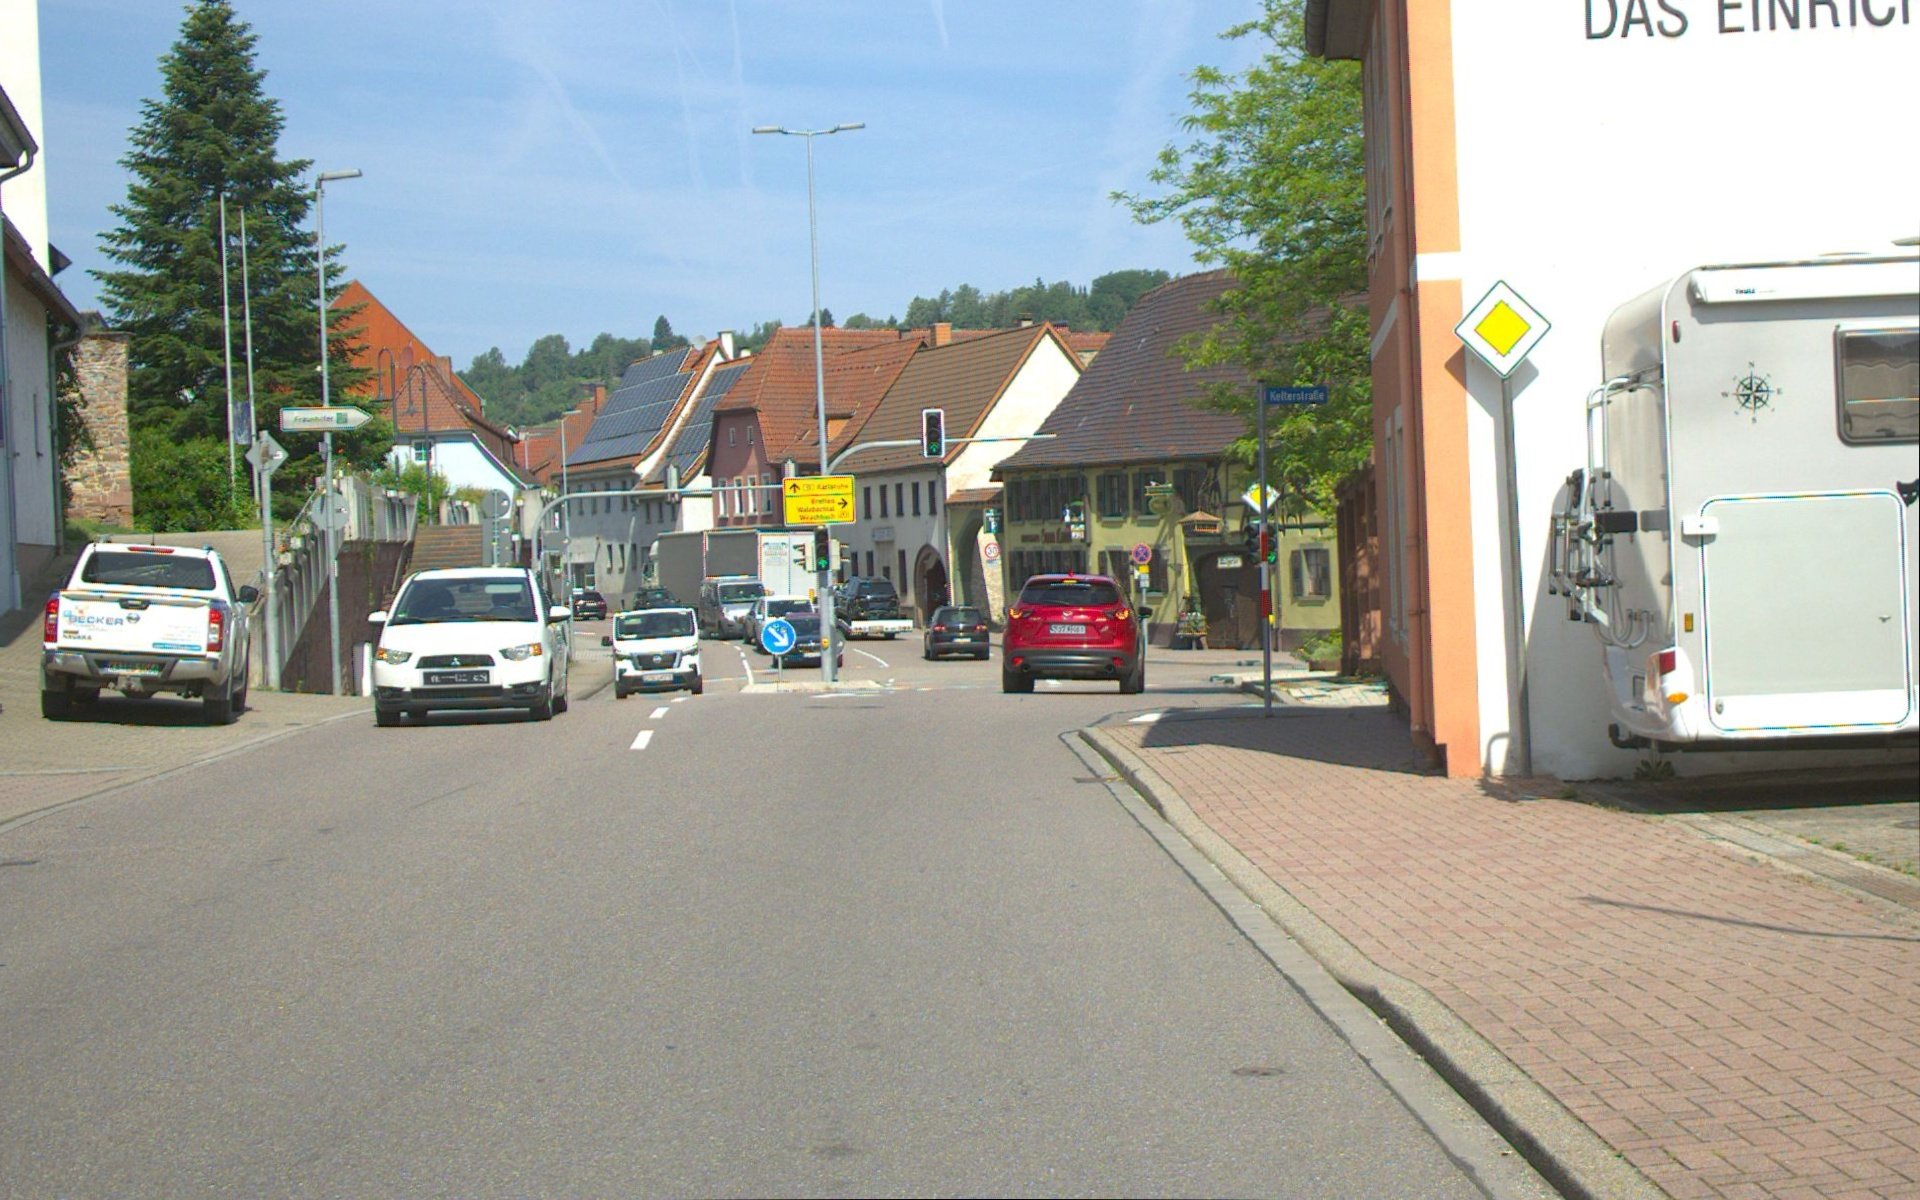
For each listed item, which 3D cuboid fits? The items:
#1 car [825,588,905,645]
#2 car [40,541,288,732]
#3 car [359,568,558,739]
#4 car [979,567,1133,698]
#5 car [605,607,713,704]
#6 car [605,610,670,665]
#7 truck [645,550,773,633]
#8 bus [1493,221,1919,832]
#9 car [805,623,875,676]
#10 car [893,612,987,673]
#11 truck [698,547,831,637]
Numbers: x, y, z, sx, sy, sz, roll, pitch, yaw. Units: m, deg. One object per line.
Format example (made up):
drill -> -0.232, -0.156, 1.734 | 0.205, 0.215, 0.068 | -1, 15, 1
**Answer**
car -> -3.451, 0.583, 124.653 | 1.846, 2.007, 4.001 | 1, 0, -18
car -> -8.186, 0.329, 35.770 | 1.804, 1.792, 5.287 | 2, 0, -6
car -> -4.929, 0.485, 34.174 | 1.729, 1.537, 3.813 | -2, 1, -6
car -> 1.380, 0.418, 47.835 | 1.805, 1.657, 3.811 | -2, 1, 6
car -> -6.491, 1.170, 74.558 | 1.968, 1.926, 5.314 | -2, 0, -2
car -> -13.496, 1.546, 143.708 | 1.757, 2.238, 4.554 | 1, 0, -18
truck -> -11.001, -0.315, 149.544 | 3.158, 3.449, 10.715 | 1, -1, -17
bus -> 6.258, -0.486, 17.814 | 6.566, 2.895, 2.229 | -3, 0, 3
car -> -3.544, 1.443, 101.875 | 1.820, 1.430, 4.248 | -1, 0, 1
car -> -0.641, 1.272, 105.303 | 1.820, 1.733, 4.006 | -2, 1, -15
truck -> -8.031, -0.327, 139.980 | 3.222, 3.537, 9.233 | 1, 0, -17
